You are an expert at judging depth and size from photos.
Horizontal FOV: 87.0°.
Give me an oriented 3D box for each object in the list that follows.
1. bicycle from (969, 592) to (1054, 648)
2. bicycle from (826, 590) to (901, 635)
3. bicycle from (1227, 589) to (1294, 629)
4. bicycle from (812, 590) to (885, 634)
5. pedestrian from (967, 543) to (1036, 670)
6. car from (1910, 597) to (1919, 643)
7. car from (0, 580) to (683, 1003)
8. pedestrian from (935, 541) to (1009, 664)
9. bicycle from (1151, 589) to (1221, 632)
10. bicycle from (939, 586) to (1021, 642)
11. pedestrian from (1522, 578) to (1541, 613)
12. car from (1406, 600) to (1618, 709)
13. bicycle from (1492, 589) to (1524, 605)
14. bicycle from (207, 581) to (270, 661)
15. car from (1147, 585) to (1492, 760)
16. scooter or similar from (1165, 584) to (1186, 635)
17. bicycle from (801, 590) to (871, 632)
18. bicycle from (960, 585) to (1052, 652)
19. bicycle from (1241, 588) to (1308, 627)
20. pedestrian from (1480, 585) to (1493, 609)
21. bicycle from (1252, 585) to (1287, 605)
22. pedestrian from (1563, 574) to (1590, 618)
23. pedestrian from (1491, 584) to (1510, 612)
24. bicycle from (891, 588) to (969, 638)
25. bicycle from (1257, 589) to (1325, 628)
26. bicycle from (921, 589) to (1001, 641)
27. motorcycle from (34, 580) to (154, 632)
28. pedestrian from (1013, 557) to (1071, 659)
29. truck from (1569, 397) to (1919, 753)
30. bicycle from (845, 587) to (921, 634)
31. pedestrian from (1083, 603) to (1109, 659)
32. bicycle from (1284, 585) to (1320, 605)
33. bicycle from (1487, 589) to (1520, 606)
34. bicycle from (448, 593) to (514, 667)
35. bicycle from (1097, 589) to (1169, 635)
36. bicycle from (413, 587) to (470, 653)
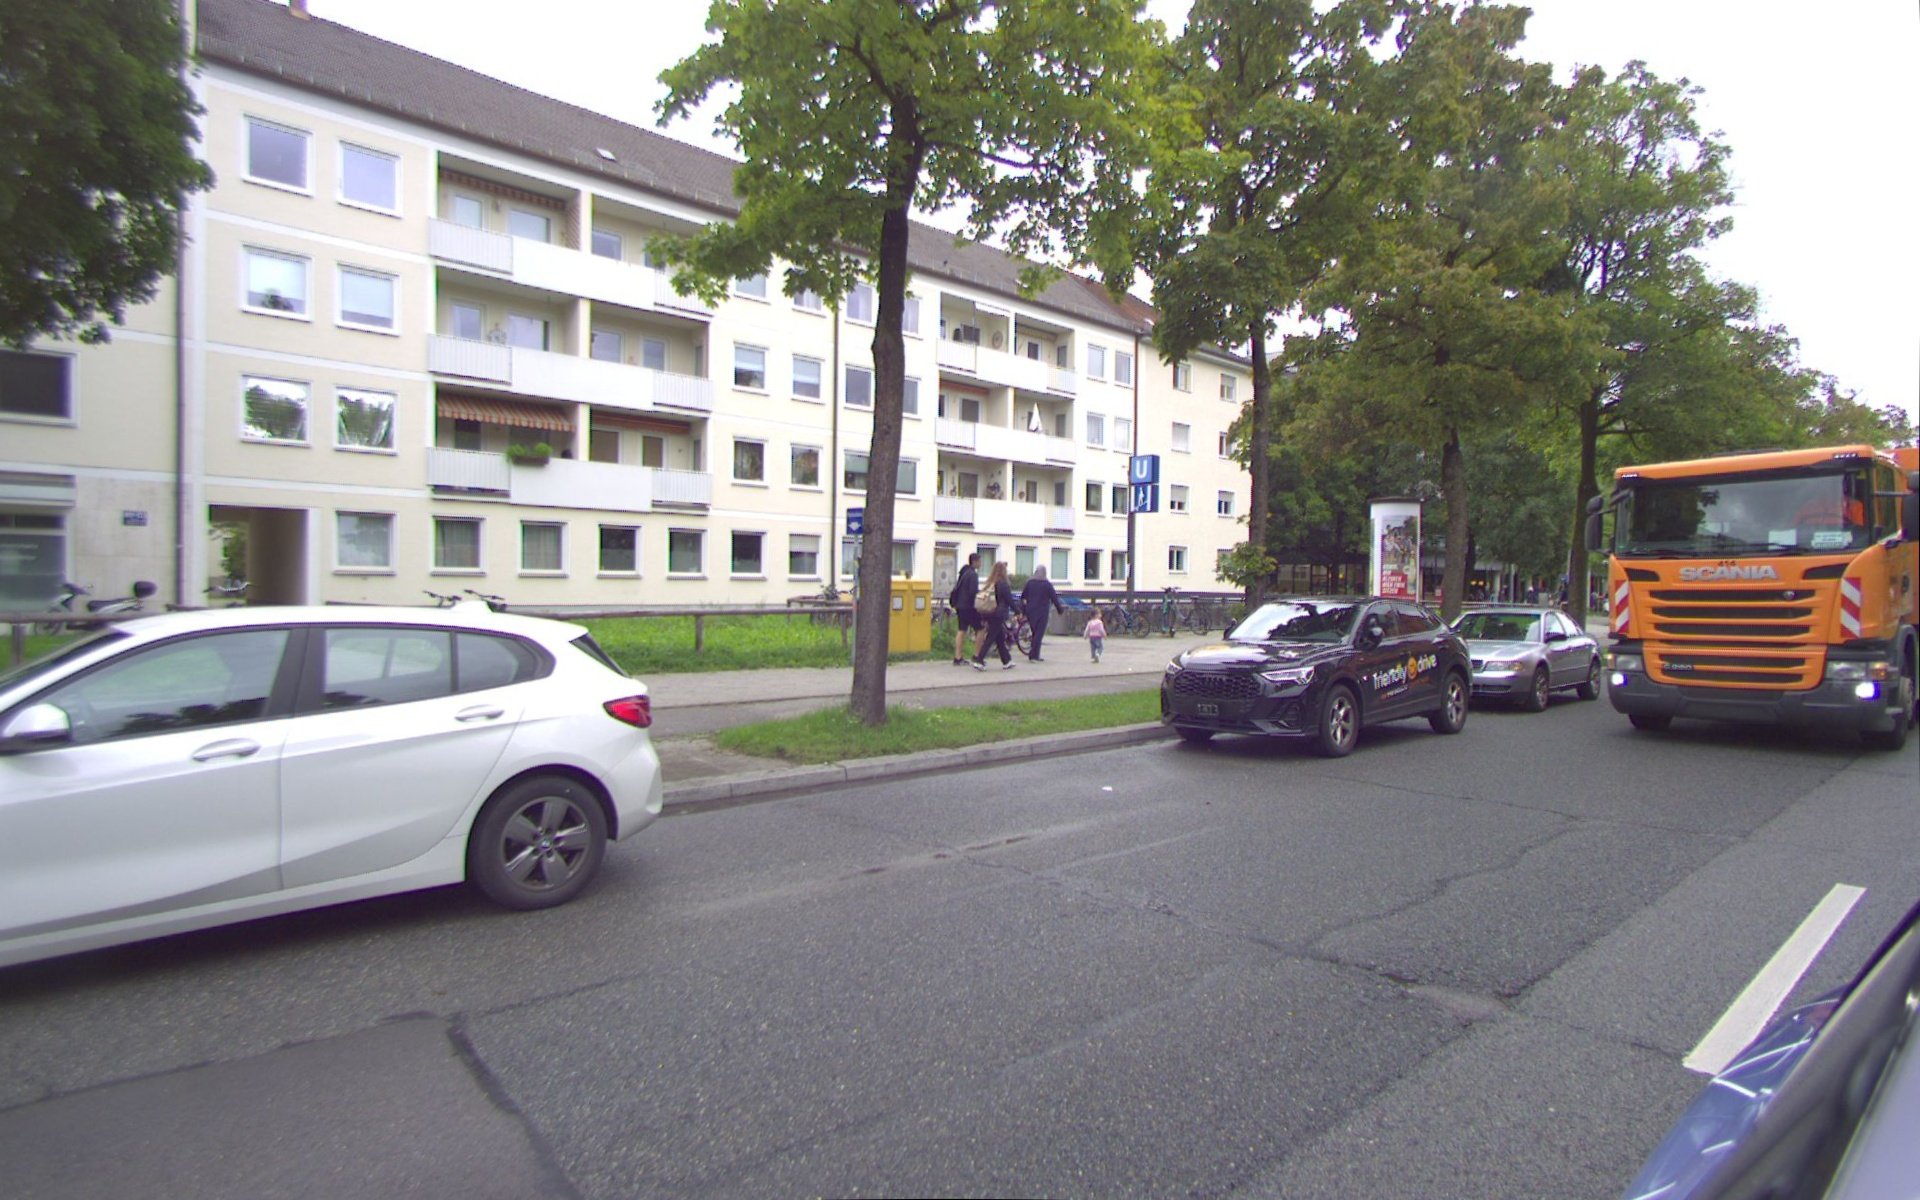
[{"bbox_3d":[1.027,0.373,19.832,1.850,1.041,0.432,0,2,-41],"label":"bicycle"},{"bbox_3d":[-2.290,0.287,24.160,1.850,1.041,0.432,0,2,-41],"label":"bicycle"},{"bbox_3d":[8.662,0.242,29.206,0.425,1.041,1.879,0,2,-43],"label":"bicycle"},{"bbox_3d":[-2.730,0.279,25.009,1.850,1.041,0.432,0,2,-41],"label":"bicycle"},{"bbox_3d":[0.652,0.081,15.752,0.886,1.913,0.589,0,1,-42],"label":"pedestrian"},{"bbox_3d":[33.072,0.644,33.563,4.585,1.461,1.798,0,-1,-41],"label":"car"},{"bbox_3d":[-3.517,0.687,4.569,4.066,1.484,1.684,0,-1,-42],"label":"car"},{"bbox_3d":[0.195,0.025,16.308,0.904,1.913,0.730,0,2,-42],"label":"pedestrian"},{"bbox_3d":[5.969,0.252,26.831,0.425,1.041,1.879,0,2,-43],"label":"bicycle"},{"bbox_3d":[0.426,0.279,20.941,1.850,1.115,0.432,0,2,-41],"label":"bicycle"},{"bbox_3d":[29.002,-0.240,51.359,0.628,1.752,0.602,0,0,-21],"label":"pedestrian"},{"bbox_3d":[8.294,0.699,15.041,4.174,1.403,1.637,0,0,-44],"label":"car"},{"bbox_3d":[40.205,-0.232,74.258,0.447,1.134,2.079,0,1,-41],"label":"bicycle"},{"bbox_3d":[-9.266,0.246,12.967,0.548,0.951,1.881,0,0,-39],"label":"bicycle"},{"bbox_3d":[4.032,0.642,10.998,4.201,1.552,1.719,0,0,-41],"label":"car"},{"bbox_3d":[5.359,0.225,25.224,0.352,1.215,1.388,1,2,6],"label":"scooter or similar"},{"bbox_3d":[-3.190,0.268,26.140,1.850,1.041,0.432,0,2,-41],"label":"bicycle"},{"bbox_3d":[0.856,0.330,18.481,1.850,1.147,0.432,1,1,-41],"label":"bicycle"},{"bbox_3d":[9.242,0.204,29.835,1.878,1.041,0.426,3,2,44],"label":"bicycle"},{"bbox_3d":[35.413,-0.193,68.029,0.625,1.561,0.656,3,3,23],"label":"pedestrian"},{"bbox_3d":[15.949,-0.283,52.172,0.448,0.983,1.693,1,1,-44],"label":"bicycle"},{"bbox_3d":[25.173,-0.159,41.319,0.835,1.771,0.640,1,2,-43],"label":"pedestrian"},{"bbox_3d":[30.128,-0.114,56.418,0.568,1.594,0.783,0,0,-23],"label":"pedestrian"},{"bbox_3d":[-0.641,0.276,22.318,1.850,1.041,0.432,0,2,-41],"label":"bicycle"},{"bbox_3d":[9.802,0.239,30.024,1.876,1.041,0.426,3,2,42],"label":"bicycle"},{"bbox_3d":[0.041,0.312,21.540,1.850,1.041,0.432,0,2,-41],"label":"bicycle"},{"bbox_3d":[-18.010,0.112,21.099,1.873,1.036,0.605,0,0,-41],"label":"motorcycle"},{"bbox_3d":[1.426,0.125,17.497,0.829,1.702,0.831,1,1,15],"label":"pedestrian"},{"bbox_3d":[11.225,-0.245,13.140,8.972,3.229,3.044,0,0,-41],"label":"truck"},{"bbox_3d":[-1.778,0.239,23.649,1.850,1.041,0.432,0,2,-41],"label":"bicycle"},{"bbox_3d":[2.392,0.541,17.853,0.401,0.961,0.435,1,1,3],"label":"pedestrian"},{"bbox_3d":[17.209,-0.264,50.909,0.448,0.983,1.693,1,1,-44],"label":"bicycle"},{"bbox_3d":[38.888,-0.178,72.448,0.447,1.134,2.079,1,1,-41],"label":"bicycle"},{"bbox_3d":[-6.894,0.400,14.527,0.425,0.986,1.881,0,0,-39],"label":"bicycle"},{"bbox_3d":[4.278,0.274,25.162,0.425,1.041,1.879,0,2,-43],"label":"bicycle"},{"bbox_3d":[-8.232,0.287,16.031,0.425,0.986,1.881,0,0,-39],"label":"bicycle"}]
